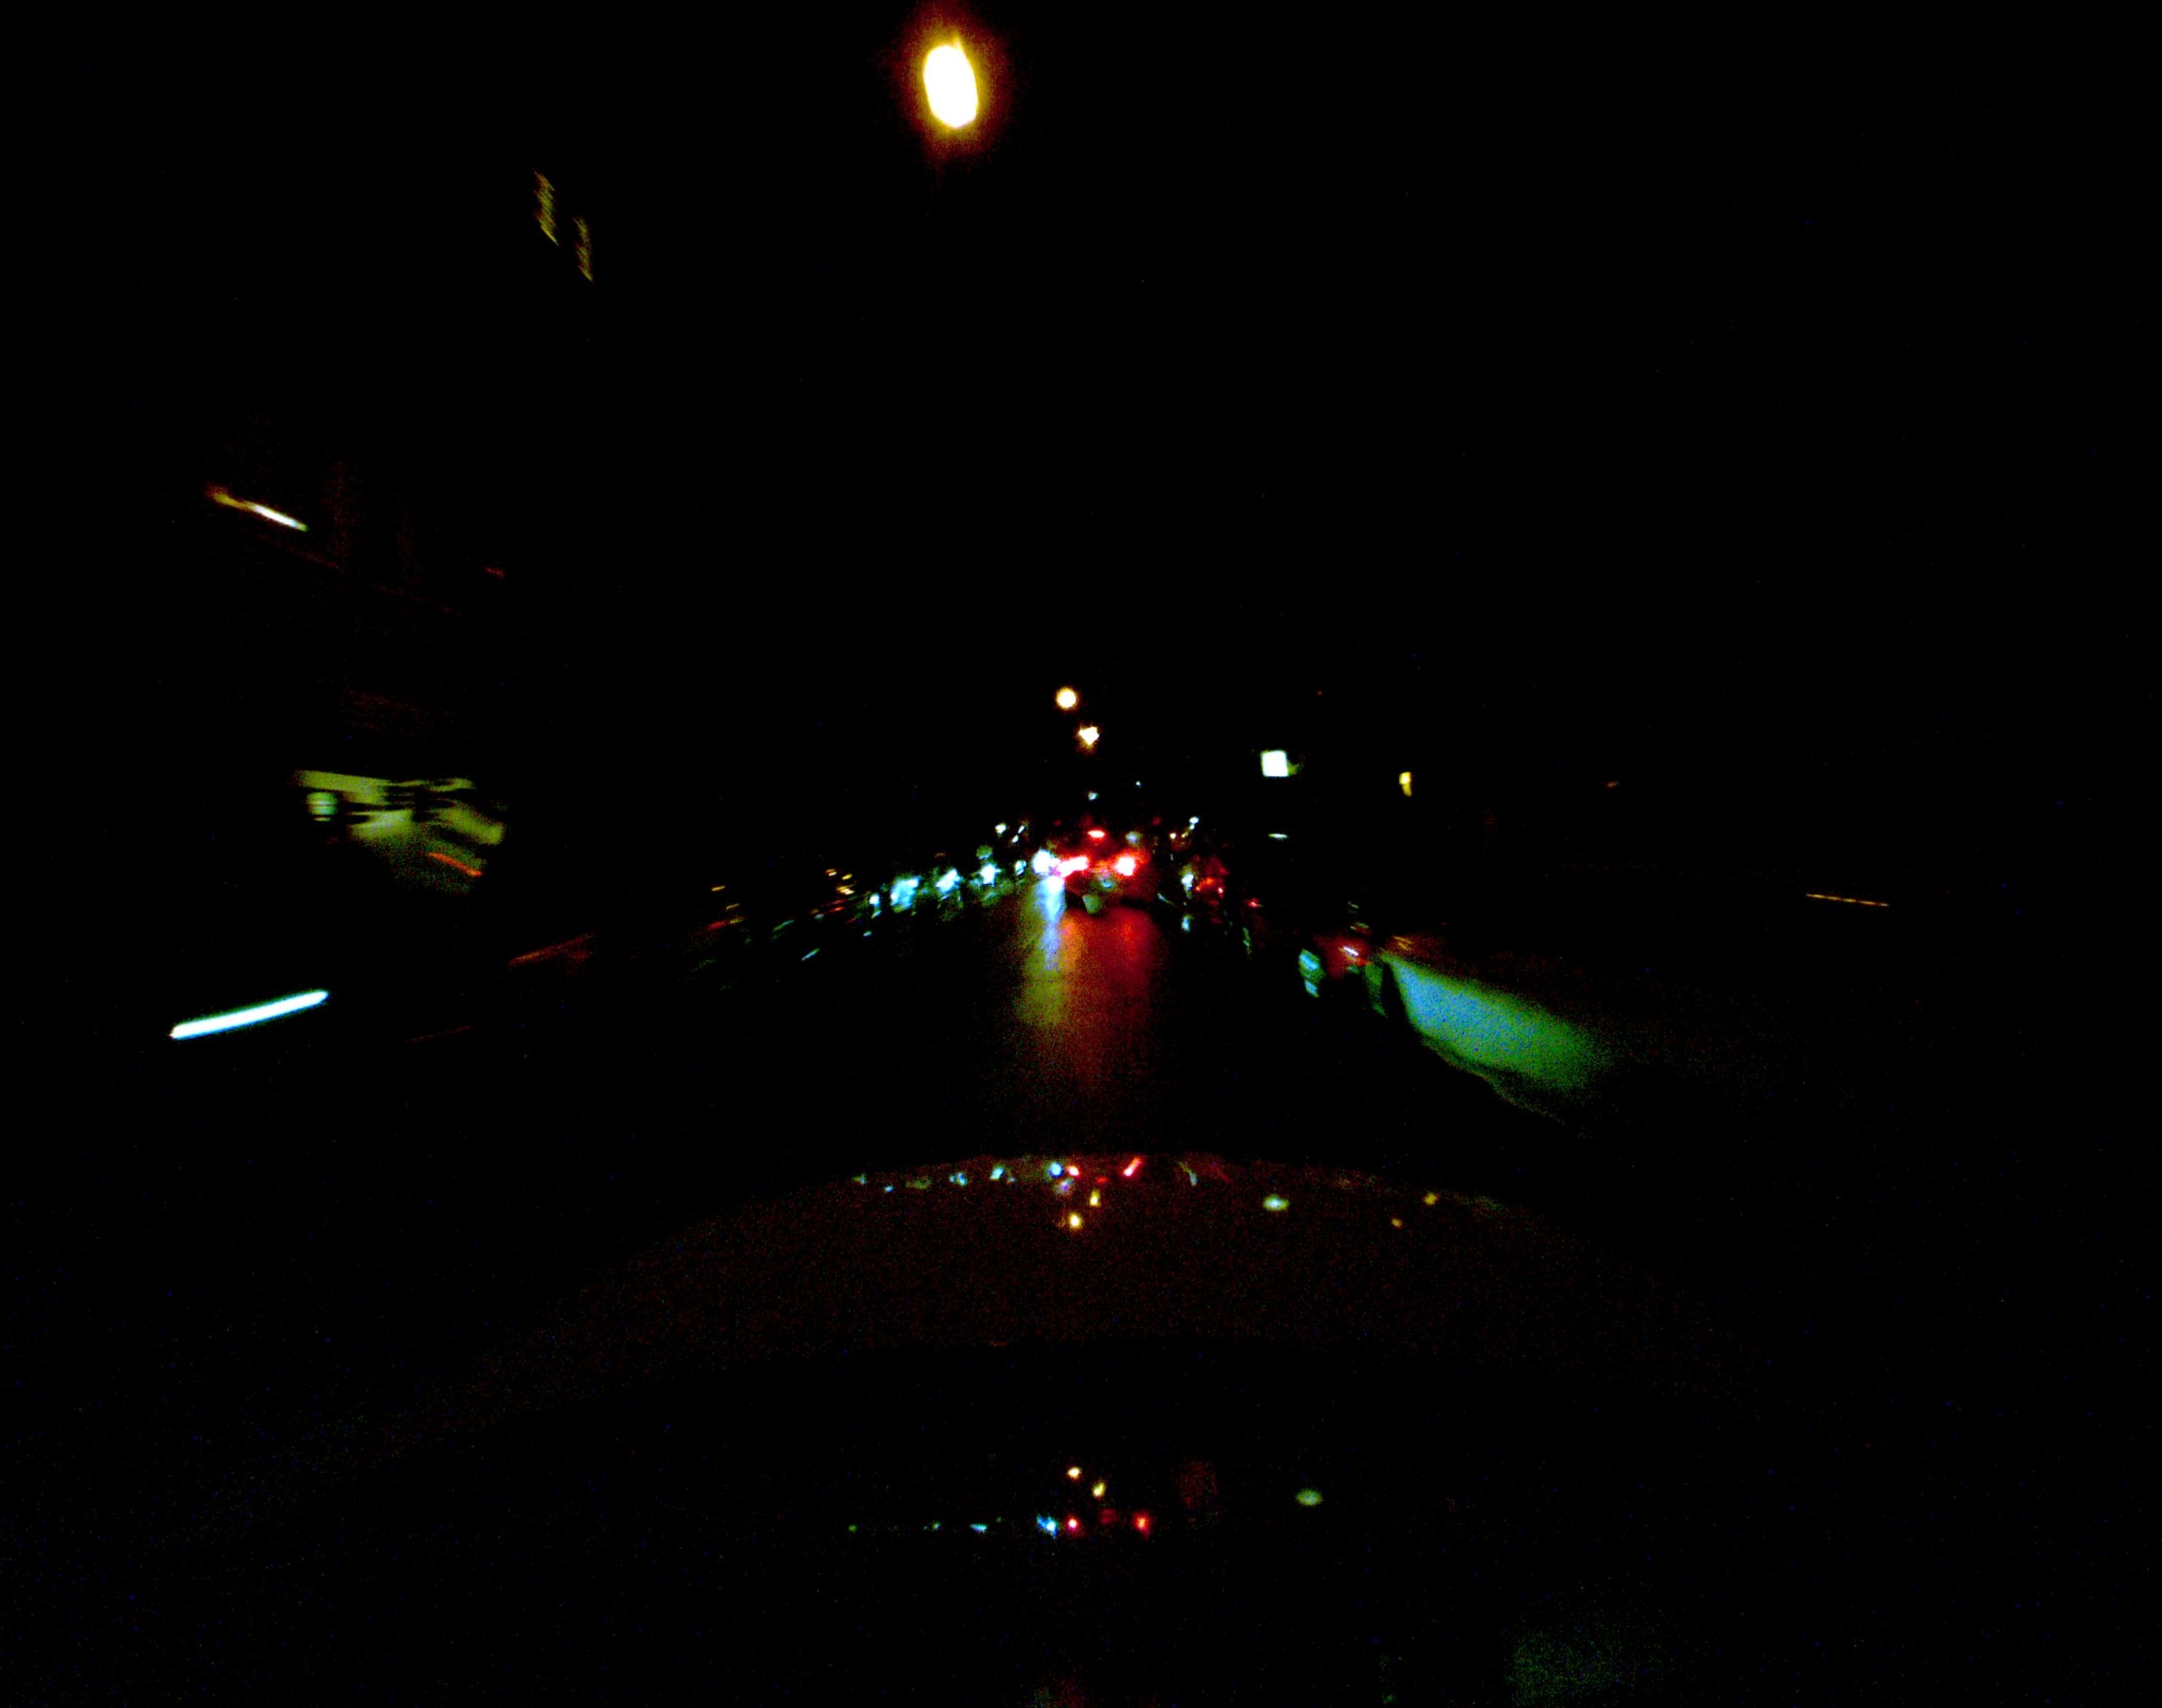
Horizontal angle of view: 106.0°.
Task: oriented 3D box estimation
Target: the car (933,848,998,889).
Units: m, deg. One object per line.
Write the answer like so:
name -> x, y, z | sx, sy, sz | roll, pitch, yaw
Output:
car -> -4.590, 0.526, 33.032 | 1.826, 1.486, 4.596 | -2, 0, 2

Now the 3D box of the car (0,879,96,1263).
car -> -5.120, 0.875, 1.639 | 1.666, 1.491, 3.723 | -1, 0, 1

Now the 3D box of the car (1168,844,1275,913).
car -> 3.246, 0.509, 19.581 | 1.911, 1.412, 4.001 | -2, 0, 1

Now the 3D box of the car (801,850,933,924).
car -> -4.886, 0.688, 19.259 | 1.826, 1.481, 4.308 | -2, 0, 2

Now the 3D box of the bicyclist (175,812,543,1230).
bicyclist -> -3.037, 0.632, 3.538 | 0.716, 1.556, 0.895 | -3, 0, 1

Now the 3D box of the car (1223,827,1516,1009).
car -> 2.840, 0.541, 8.976 | 1.685, 1.498, 3.888 | -2, 0, -2

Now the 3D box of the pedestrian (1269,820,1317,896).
pedestrian -> 5.249, 0.087, 20.225 | 0.858, 1.788, 1.084 | -4, 1, 5

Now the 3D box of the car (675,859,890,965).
car -> -4.733, 0.828, 13.696 | 1.815, 1.389, 4.427 | -2, 0, 1

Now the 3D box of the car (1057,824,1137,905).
car -> 0.504, 0.256, 23.409 | 1.988, 2.049, 4.697 | -2, 0, 2

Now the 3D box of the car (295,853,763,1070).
car -> -4.981, 0.811, 8.222 | 1.768, 1.572, 4.136 | -2, 0, 1

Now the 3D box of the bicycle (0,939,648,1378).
bicycle -> -3.011, 1.070, 3.702 | 0.724, 1.072, 2.349 | -3, 0, 2

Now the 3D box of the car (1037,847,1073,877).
car -> -1.505, 0.465, 49.563 | 1.914, 1.618, 4.574 | -4, 1, 0

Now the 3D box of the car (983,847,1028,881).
car -> -4.037, 0.489, 44.050 | 1.826, 1.717, 4.596 | -2, 0, 2

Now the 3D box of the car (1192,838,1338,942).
car -> 3.027, 0.537, 14.192 | 1.683, 1.498, 3.892 | -2, 0, 1

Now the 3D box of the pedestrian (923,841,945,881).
pedestrian -> -6.707, 0.309, 37.267 | 0.739, 1.804, 0.988 | 0, 0, 5

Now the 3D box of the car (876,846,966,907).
car -> -4.611, 0.602, 24.007 | 1.739, 1.588, 3.767 | -2, 0, 2

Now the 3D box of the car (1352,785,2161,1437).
car -> 3.039, 0.546, 4.049 | 1.986, 1.464, 4.418 | -2, 0, 1
